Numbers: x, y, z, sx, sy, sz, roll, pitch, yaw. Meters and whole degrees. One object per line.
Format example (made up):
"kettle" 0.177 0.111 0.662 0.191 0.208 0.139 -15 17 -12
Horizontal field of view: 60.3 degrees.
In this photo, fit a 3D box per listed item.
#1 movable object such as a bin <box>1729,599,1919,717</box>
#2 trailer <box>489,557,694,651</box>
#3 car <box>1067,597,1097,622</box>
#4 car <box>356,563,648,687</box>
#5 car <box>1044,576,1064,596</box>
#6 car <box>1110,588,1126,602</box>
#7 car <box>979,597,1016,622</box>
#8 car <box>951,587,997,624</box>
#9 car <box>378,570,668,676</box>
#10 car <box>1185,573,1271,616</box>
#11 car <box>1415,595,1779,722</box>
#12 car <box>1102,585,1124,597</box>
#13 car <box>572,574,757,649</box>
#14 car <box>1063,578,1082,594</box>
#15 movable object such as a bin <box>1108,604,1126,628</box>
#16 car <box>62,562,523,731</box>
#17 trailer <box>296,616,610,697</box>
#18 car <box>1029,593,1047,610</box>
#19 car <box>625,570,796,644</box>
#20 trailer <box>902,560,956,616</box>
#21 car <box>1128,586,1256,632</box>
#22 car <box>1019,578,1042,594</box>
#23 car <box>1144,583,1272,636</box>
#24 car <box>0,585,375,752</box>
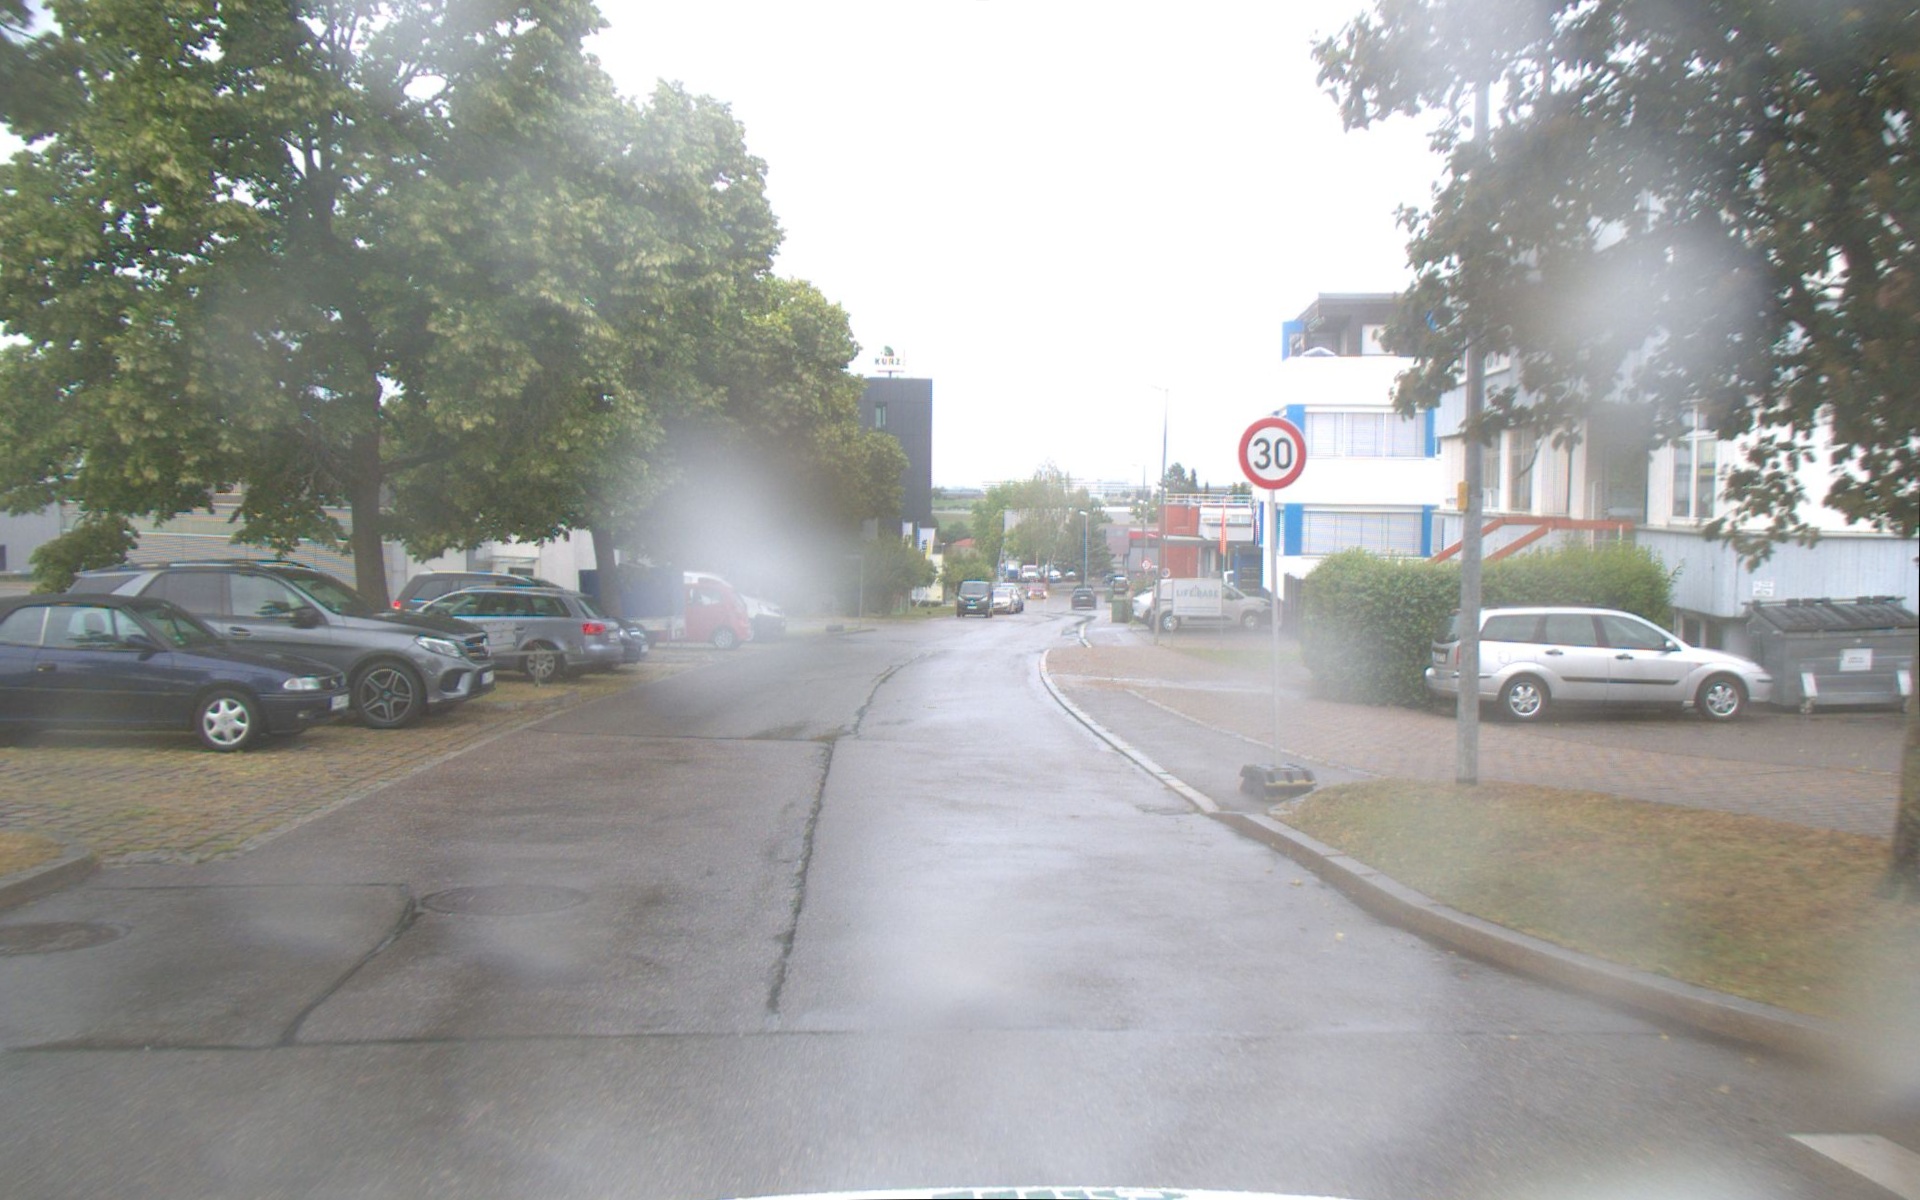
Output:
"movable object such as a bin" 12.149 0.781 22.942 2.218 1.530 1.734 -1 0 5
"trailer" -8.166 0.089 36.859 4.124 2.019 1.774 0 -1 3
"car" 8.581 0.702 116.615 1.915 1.705 4.473 0 -1 2
"car" -7.266 0.388 26.500 3.988 1.752 2.026 2 0 4
"car" 12.079 -1.827 213.519 2.149 2.502 3.998 0 0 -3
"car" 16.958 -0.520 177.883 1.661 1.501 4.002 0 0 5
"car" 2.321 0.560 101.418 1.914 1.486 5.251 0 0 5
"car" 0.785 0.283 86.846 1.875 1.863 4.851 1 0 7
"car" -7.611 0.389 29.052 4.521 1.617 1.807 2 0 3
"car" 17.228 -0.348 106.590 5.189 2.047 2.223 -8 -1 5
"car" 8.504 0.762 22.361 4.223 1.612 1.859 0 -1 2
"car" 18.473 -1.122 200.044 2.495 1.375 1.242 1 0 0
"car" -7.028 0.280 39.666 4.110 1.752 1.755 0 -1 0
"car" 14.527 -1.777 214.307 2.102 2.049 3.938 0 0 -1
"movable object such as a bin" 7.073 0.720 74.381 0.755 1.048 0.809 1 0 7
"car" -7.272 0.496 18.399 4.279 1.752 2.044 0 -1 -1
"trailer" -7.208 0.784 23.822 3.860 0.978 2.000 1 1 1
"car" 7.443 0.140 158.082 1.711 1.535 3.936 -2 -1 2
"car" -6.718 0.196 44.717 4.208 1.939 1.863 0 -1 8
"trailer" -2.438 -0.925 130.237 4.115 4.276 1.992 0 0 44
"car" 8.417 0.324 60.358 4.499 1.565 2.080 -1 0 5
"car" 9.106 -1.806 213.353 2.223 2.049 3.991 0 0 -10
"car" 8.533 0.322 57.236 4.249 1.804 2.090 0 0 4
"car" -7.956 0.615 15.763 4.130 1.456 1.772 1 -1 -5
